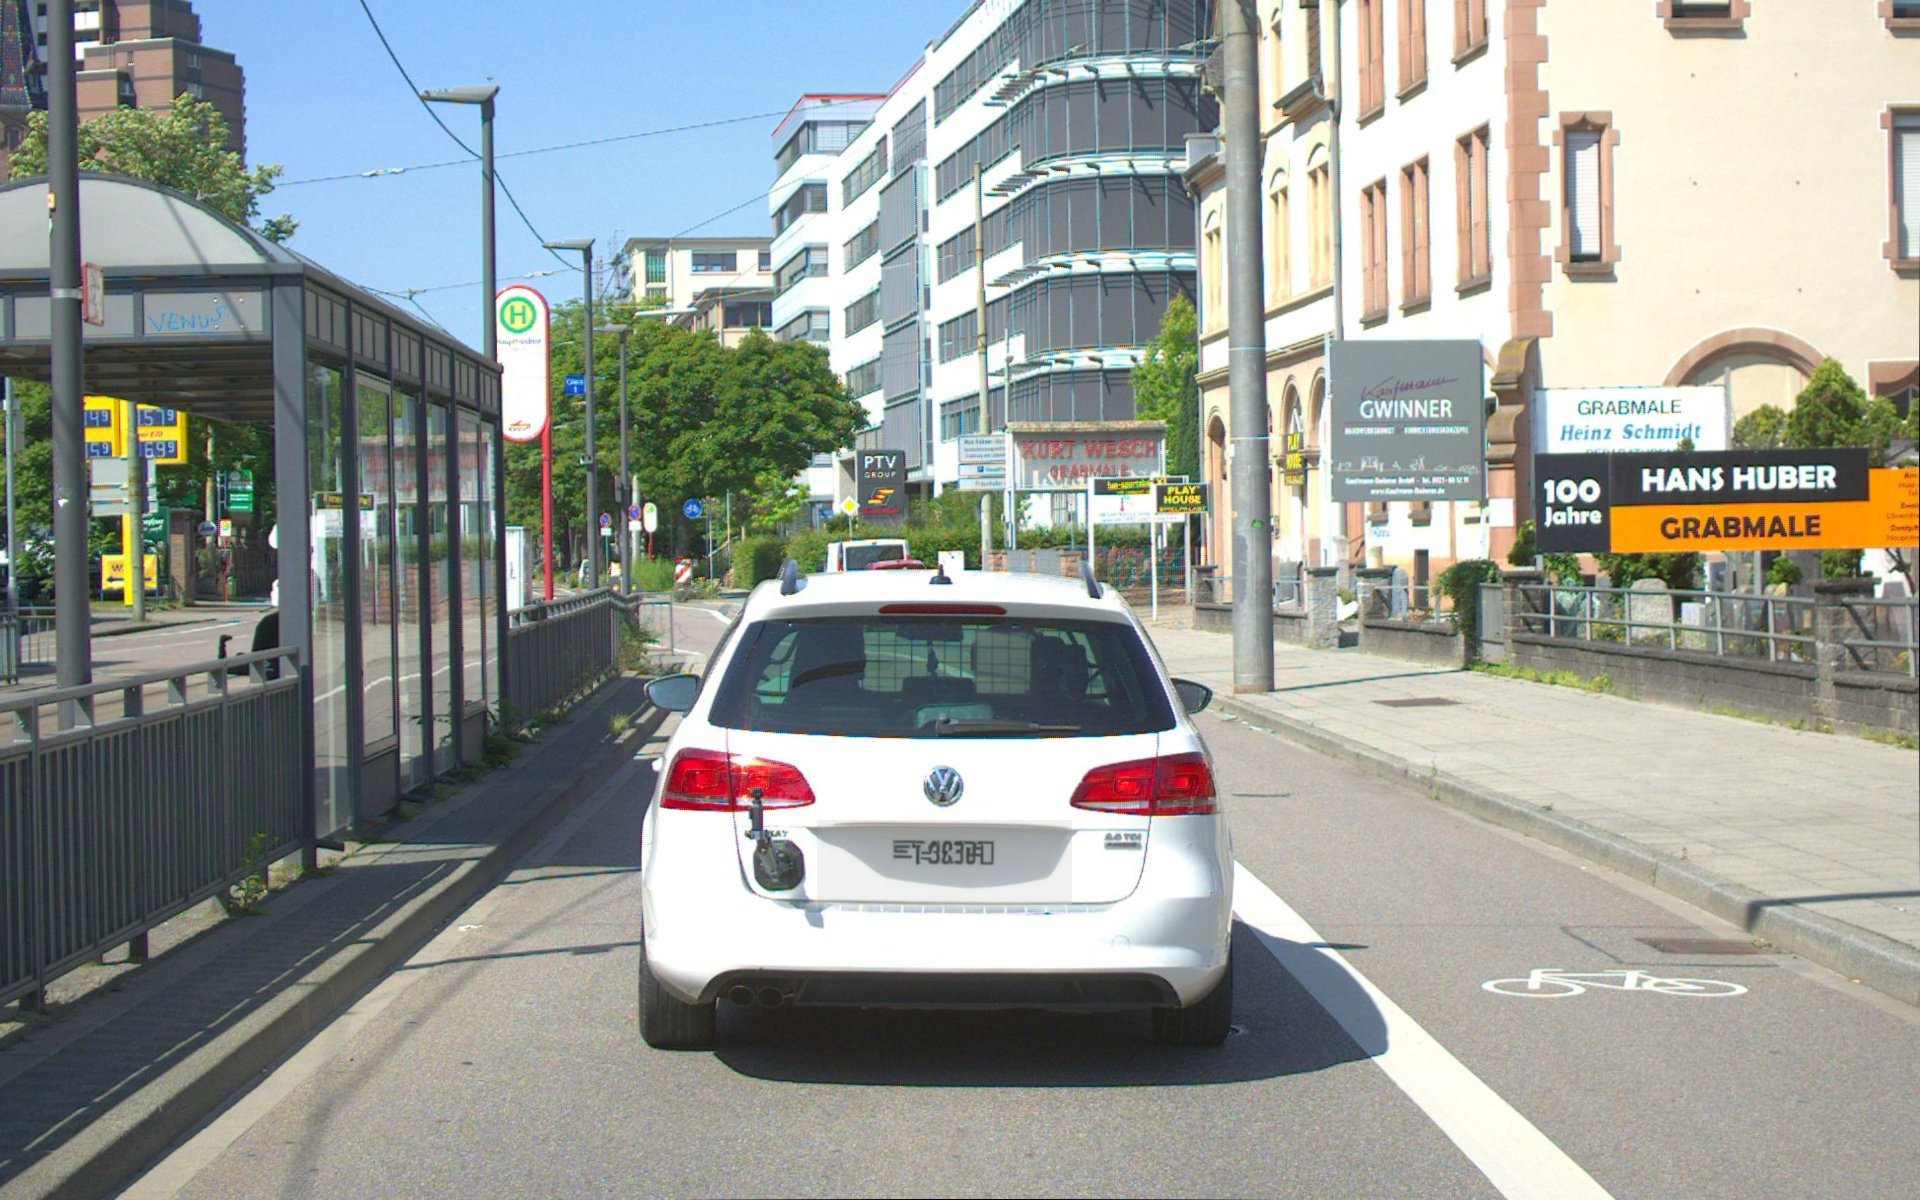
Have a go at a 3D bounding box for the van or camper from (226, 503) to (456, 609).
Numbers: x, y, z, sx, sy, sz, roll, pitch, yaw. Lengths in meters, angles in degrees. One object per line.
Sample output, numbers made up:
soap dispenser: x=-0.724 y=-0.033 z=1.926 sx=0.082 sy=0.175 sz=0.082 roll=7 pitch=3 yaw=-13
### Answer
van or camper: x=-18.598 y=-1.330 z=103.159 sx=6.703 sy=2.957 sz=2.611 roll=2 pitch=0 yaw=32

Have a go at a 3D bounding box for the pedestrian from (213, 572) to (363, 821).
pedestrian: x=-3.497 y=0.489 z=17.933 sx=0.629 sy=1.250 sz=0.710 roll=-2 pitch=1 yaw=-2

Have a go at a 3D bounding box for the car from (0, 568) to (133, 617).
car: x=-31.141 y=-0.253 z=119.252 sx=1.947 sy=1.619 sz=4.569 roll=0 pitch=1 yaw=36

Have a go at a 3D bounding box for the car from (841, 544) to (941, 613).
car: x=-1.610 y=-0.493 z=78.371 sx=1.721 sy=1.438 sz=4.313 roll=-3 pitch=1 yaw=-8

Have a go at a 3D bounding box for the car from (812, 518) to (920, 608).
car: x=-2.355 y=-0.889 z=84.337 sx=1.976 sy=2.047 sz=5.192 roll=-3 pitch=1 yaw=-8

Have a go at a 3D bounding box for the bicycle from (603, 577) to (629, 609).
bicycle: x=-12.124 y=-0.252 z=121.195 sx=0.811 sy=1.074 sz=2.012 roll=-1 pitch=1 yaw=-8

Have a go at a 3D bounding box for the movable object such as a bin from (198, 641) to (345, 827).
movable object such as a bin: x=-3.469 y=0.670 z=17.340 sx=0.629 sy=0.897 sz=0.489 roll=-2 pitch=1 yaw=-2

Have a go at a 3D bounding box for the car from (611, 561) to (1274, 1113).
car: x=-0.130 y=0.612 z=11.393 sx=1.753 sy=1.437 sz=4.413 roll=1 pitch=1 yaw=-2

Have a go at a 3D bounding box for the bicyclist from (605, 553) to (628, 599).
bicyclist: x=-12.111 y=-0.848 z=121.190 sx=0.785 sy=1.623 sz=0.738 roll=1 pitch=0 yaw=-8
